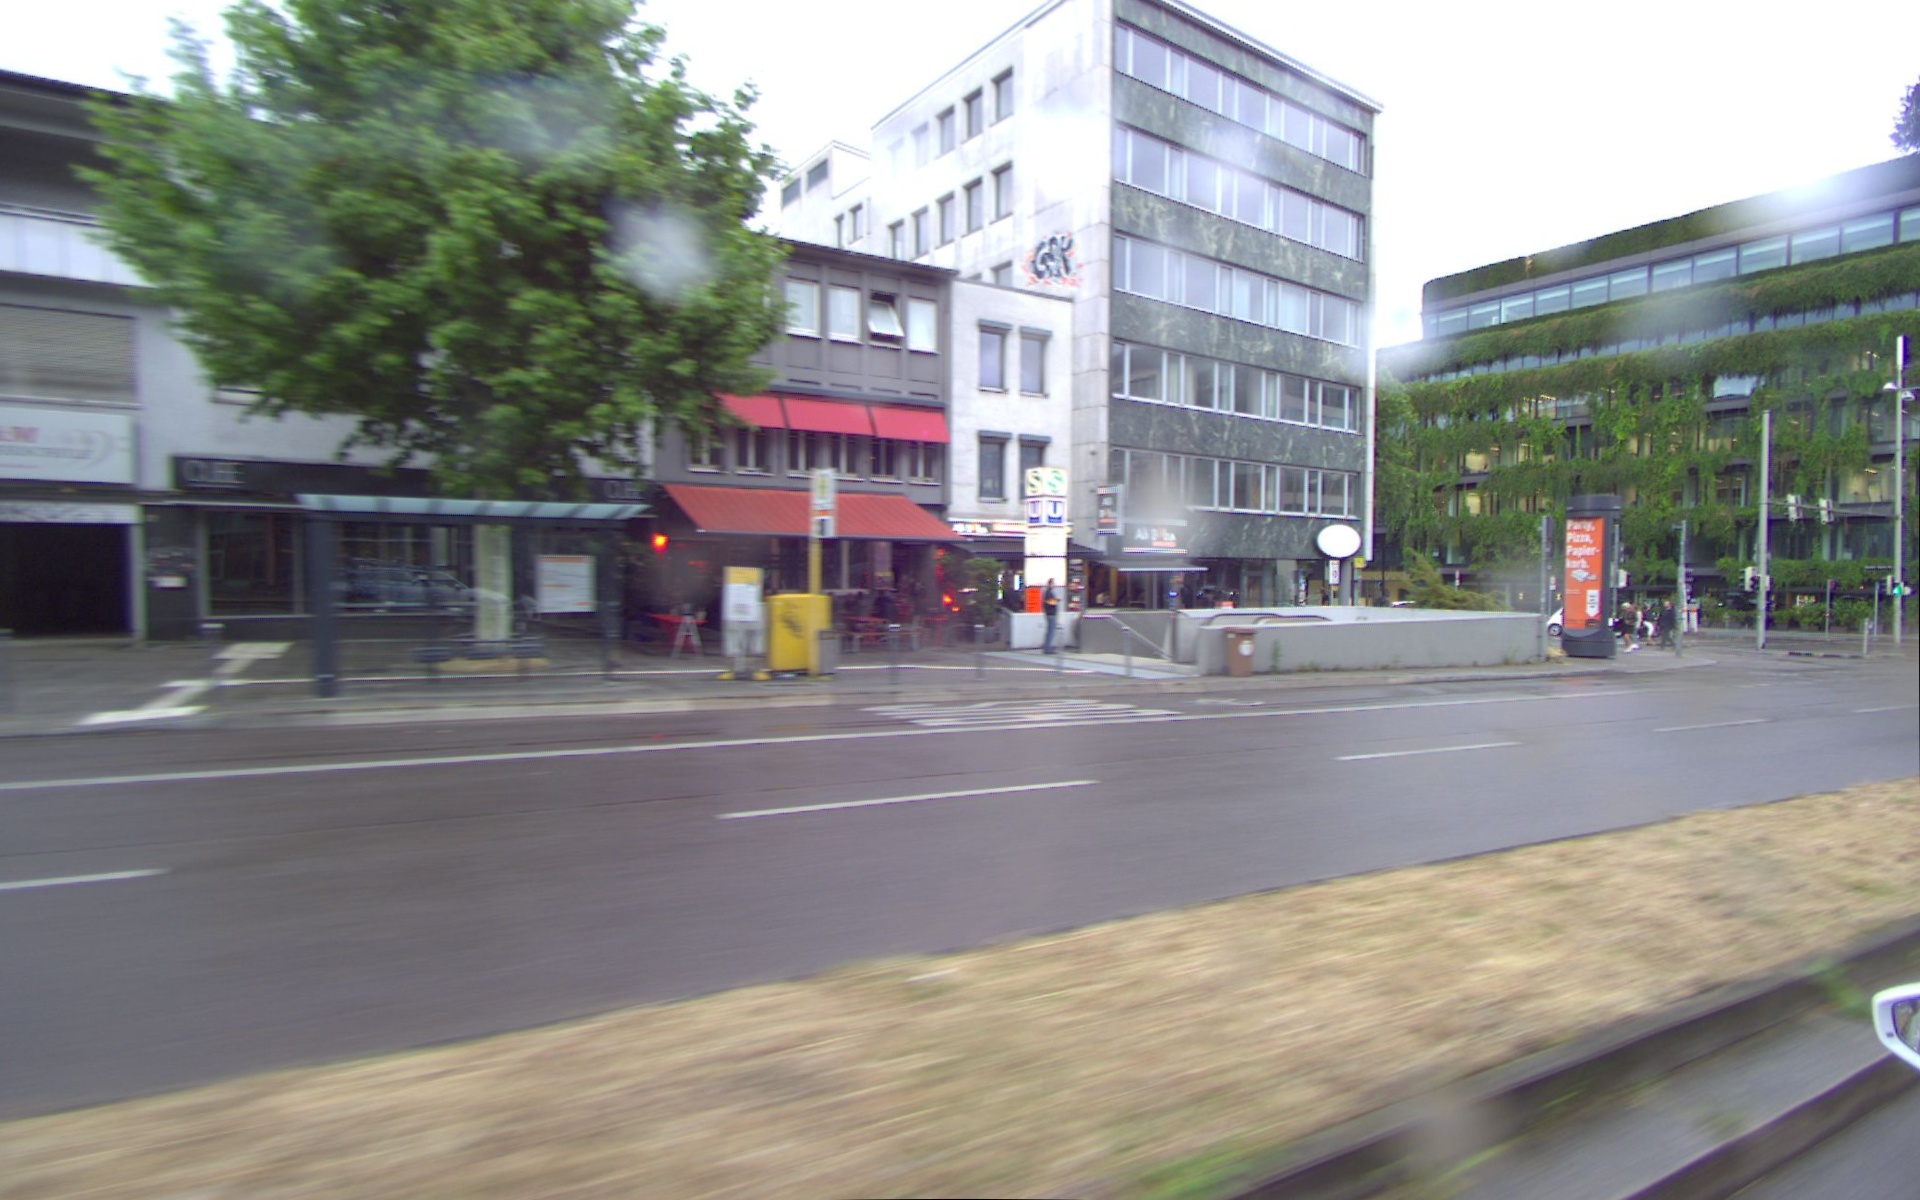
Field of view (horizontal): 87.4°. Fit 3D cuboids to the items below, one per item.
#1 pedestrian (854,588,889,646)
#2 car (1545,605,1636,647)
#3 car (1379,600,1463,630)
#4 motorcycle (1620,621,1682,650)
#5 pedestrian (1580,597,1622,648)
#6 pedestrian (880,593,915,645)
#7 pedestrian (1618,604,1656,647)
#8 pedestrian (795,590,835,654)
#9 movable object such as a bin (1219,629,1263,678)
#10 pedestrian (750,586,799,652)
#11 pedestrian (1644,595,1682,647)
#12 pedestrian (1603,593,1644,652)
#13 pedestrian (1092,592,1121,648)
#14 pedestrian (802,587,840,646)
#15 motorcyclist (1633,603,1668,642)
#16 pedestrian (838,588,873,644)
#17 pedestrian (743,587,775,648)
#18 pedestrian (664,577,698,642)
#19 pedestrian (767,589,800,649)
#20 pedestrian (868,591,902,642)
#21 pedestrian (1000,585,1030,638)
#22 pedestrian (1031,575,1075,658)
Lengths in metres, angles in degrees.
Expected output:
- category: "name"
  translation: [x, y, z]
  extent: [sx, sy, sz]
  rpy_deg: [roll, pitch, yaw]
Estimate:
- category: "pedestrian"
  translation: [-2.320, 0.435, 26.290]
  extent: [0.685, 1.470, 0.628]
  rpy_deg: [0, 1, -36]
- category: "car"
  translation: [31.261, 1.234, 49.815]
  extent: [1.985, 1.948, 3.417]
  rpy_deg: [0, 0, -42]
- category: "car"
  translation: [25.797, 0.808, 56.271]
  extent: [1.858, 1.543, 3.856]
  rpy_deg: [1, 0, -42]
- category: "motorcycle"
  translation: [31.367, 1.616, 45.613]
  extent: [2.204, 1.227, 0.843]
  rpy_deg: [1, 0, 45]
- category: "pedestrian"
  translation: [24.276, 0.857, 38.066]
  extent: [0.868, 1.878, 1.015]
  rpy_deg: [0, -3, -34]
- category: "pedestrian"
  translation: [-1.662, 0.500, 26.854]
  extent: [0.685, 1.362, 0.628]
  rpy_deg: [0, 1, -36]
- category: "pedestrian"
  translation: [26.012, 0.979, 38.585]
  extent: [0.912, 1.606, 0.828]
  rpy_deg: [0, -3, -30]
- category: "pedestrian"
  translation: [-3.438, 0.518, 23.768]
  extent: [0.700, 1.470, 0.685]
  rpy_deg: [0, 1, -34]
- category: "movable object such as a bin"
  translation: [5.314, 1.002, 18.993]
  extent: [0.676, 0.909, 0.527]
  rpy_deg: [1, -1, -39]
- category: "pedestrian"
  translation: [-4.276, 0.426, 23.177]
  extent: [0.905, 1.470, 0.685]
  rpy_deg: [0, 1, -34]
- category: "pedestrian"
  translation: [26.404, 0.786, 37.734]
  extent: [0.887, 1.910, 0.781]
  rpy_deg: [0, -3, -30]
- category: "pedestrian"
  translation: [21.996, 0.742, 33.313]
  extent: [0.858, 1.910, 0.800]
  rpy_deg: [1, -3, -36]
- category: "pedestrian"
  translation: [5.017, 0.675, 34.461]
  extent: [0.586, 1.910, 0.750]
  rpy_deg: [0, 1, -36]
- category: "pedestrian"
  translation: [-3.570, 0.414, 25.738]
  extent: [0.685, 1.470, 0.721]
  rpy_deg: [0, 1, -36]
- category: "motorcyclist"
  translation: [31.364, 1.019, 45.619]
  extent: [1.173, 1.725, 0.843]
  rpy_deg: [1, 1, 44]
- category: "pedestrian"
  translation: [-2.812, 0.430, 27.038]
  extent: [0.685, 1.470, 0.628]
  rpy_deg: [0, 1, -36]
- category: "pedestrian"
  translation: [-4.979, 0.427, 24.840]
  extent: [0.541, 1.470, 0.685]
  rpy_deg: [0, 1, -34]
- category: "pedestrian"
  translation: [-6.911, 0.236, 24.888]
  extent: [0.600, 1.591, 0.591]
  rpy_deg: [1, 0, -39]
- category: "pedestrian"
  translation: [-4.420, 0.460, 25.141]
  extent: [0.577, 1.470, 0.685]
  rpy_deg: [0, 1, -32]
- category: "pedestrian"
  translation: [-2.064, 0.444, 27.532]
  extent: [0.685, 1.374, 0.628]
  rpy_deg: [0, 1, -36]
- category: "pedestrian"
  translation: [1.570, 0.322, 28.626]
  extent: [0.582, 1.470, 0.598]
  rpy_deg: [0, 1, -35]
- category: "pedestrian"
  translation: [2.209, 0.382, 23.843]
  extent: [0.750, 1.910, 0.685]
  rpy_deg: [0, 1, -34]
